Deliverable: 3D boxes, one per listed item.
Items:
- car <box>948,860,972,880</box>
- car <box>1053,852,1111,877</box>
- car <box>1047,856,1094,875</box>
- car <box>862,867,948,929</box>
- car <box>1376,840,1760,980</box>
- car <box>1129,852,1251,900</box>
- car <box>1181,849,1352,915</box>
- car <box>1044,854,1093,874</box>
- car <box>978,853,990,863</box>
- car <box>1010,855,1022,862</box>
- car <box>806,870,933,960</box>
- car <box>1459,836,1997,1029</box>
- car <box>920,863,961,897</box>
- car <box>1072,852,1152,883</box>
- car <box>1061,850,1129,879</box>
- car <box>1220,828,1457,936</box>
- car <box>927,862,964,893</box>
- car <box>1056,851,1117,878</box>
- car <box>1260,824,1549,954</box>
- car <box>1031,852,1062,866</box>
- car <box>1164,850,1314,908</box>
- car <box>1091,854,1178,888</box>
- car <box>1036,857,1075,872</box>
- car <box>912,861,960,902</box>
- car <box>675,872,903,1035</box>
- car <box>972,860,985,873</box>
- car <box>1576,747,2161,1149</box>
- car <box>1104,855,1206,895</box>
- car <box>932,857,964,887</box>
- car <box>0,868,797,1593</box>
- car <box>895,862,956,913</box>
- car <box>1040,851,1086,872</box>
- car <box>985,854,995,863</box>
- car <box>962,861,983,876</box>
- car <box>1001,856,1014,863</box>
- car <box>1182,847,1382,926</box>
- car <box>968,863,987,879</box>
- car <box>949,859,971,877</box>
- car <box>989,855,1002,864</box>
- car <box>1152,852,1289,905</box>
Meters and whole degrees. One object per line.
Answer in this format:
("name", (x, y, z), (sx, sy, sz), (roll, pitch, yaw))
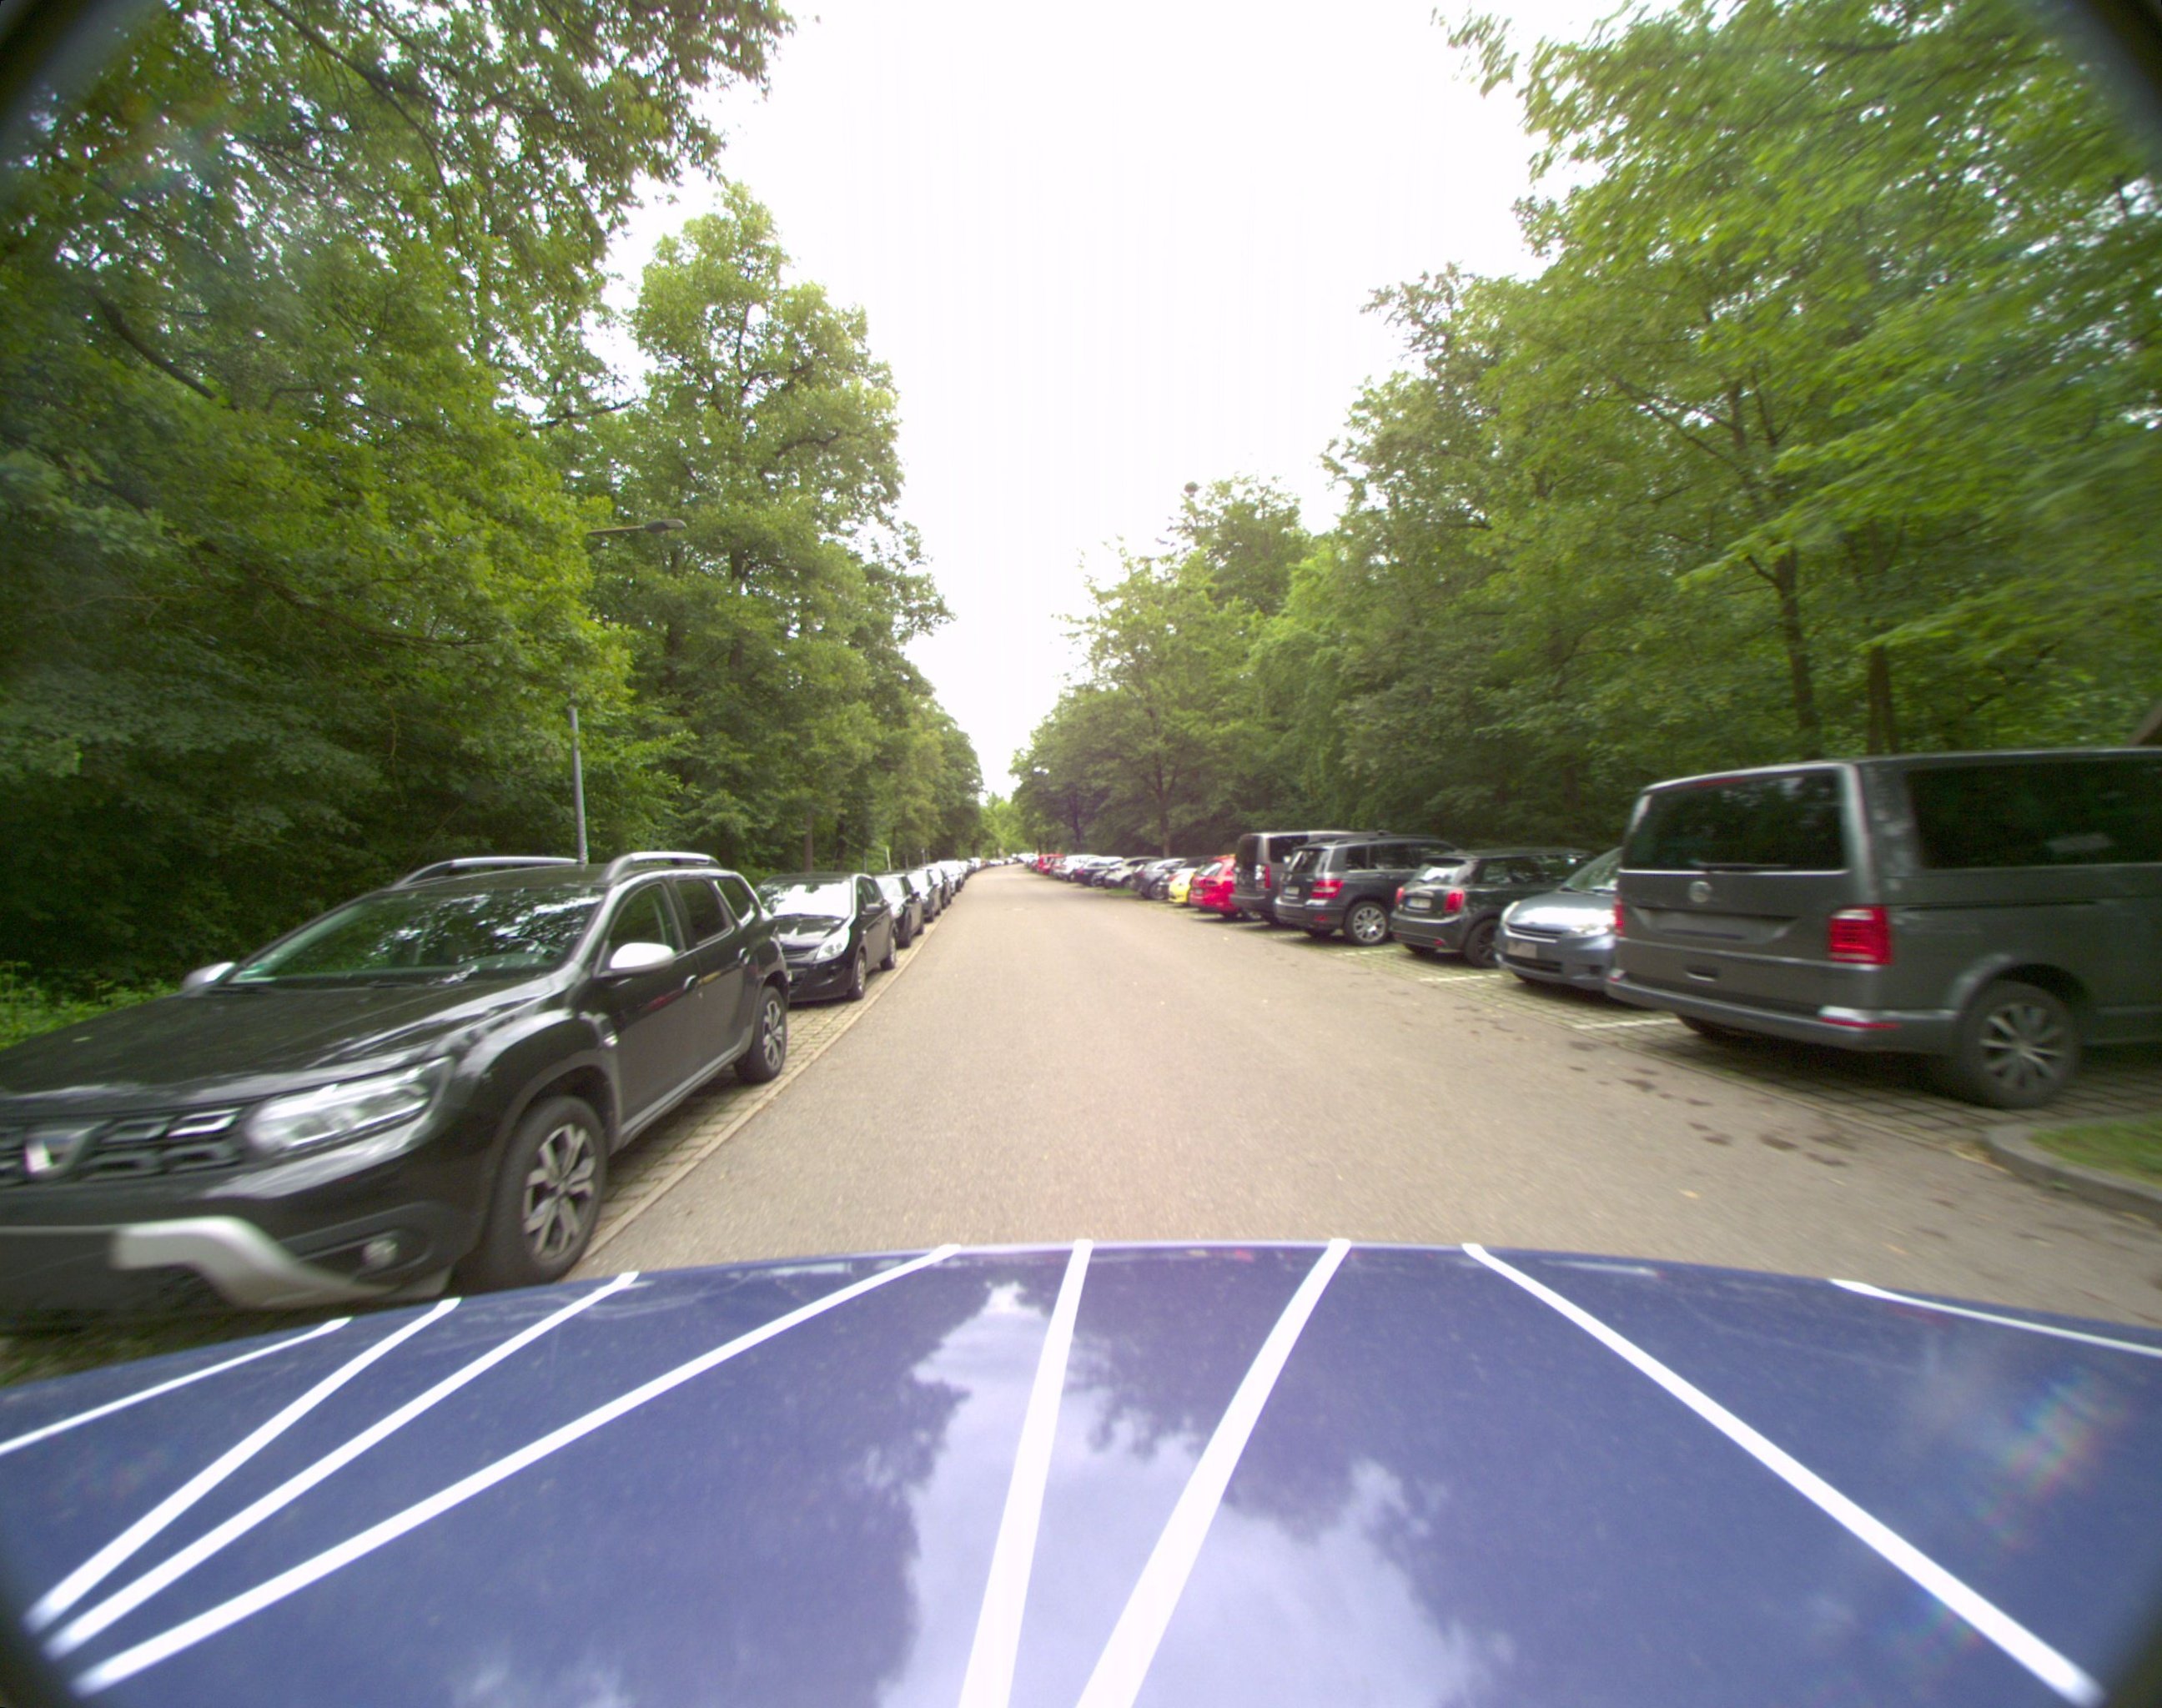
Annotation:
("car", (-9.467, 1.240, 59.632), (1.742, 1.398, 4.424), (-3, 0, -8))
("car", (0.043, 0.739, 54.991), (4.000, 1.652, 1.695), (-1, 0, -8))
("car", (-0.964, 1.014, 67.879), (3.999, 1.507, 1.817), (-2, 0, -7))
("car", (-4.873, 1.161, 21.611), (1.741, 1.423, 4.499), (-3, 0, -6))
("car", (6.234, 0.664, 9.975), (3.999, 1.421, 1.720), (-3, 0, -6))
("car", (3.878, 0.772, 27.488), (3.999, 1.430, 1.714), (-3, 0, -7))
("car", (4.855, 0.701, 20.118), (4.000, 1.430, 1.670), (-3, 0, -9))
("car", (-1.058, 0.814, 64.885), (3.999, 1.507, 1.770), (-2, 0, -7))
("car", (-15.443, 0.629, 120.858), (1.503, 1.470, 3.664), (-4, 0, -4))
("car", (-14.252, 1.033, 166.347), (1.771, 1.308, 3.891), (-3, 1, 8))
("car", (-4.212, 1.139, 15.854), (1.741, 1.423, 4.499), (-3, 0, -6))
("car", (6.088, 0.673, 7.464), (3.825, 1.503, 1.809), (-2, 0, -4))
("car", (-6.715, 1.203, 36.594), (1.742, 1.416, 4.151), (-3, 0, -8))
("car", (1.621, 0.710, 40.256), (3.999, 1.427, 1.676), (-2, 0, -5))
("car", (0.839, 0.666, 47.726), (4.000, 1.652, 1.813), (-2, 0, -8))
("car", (5.011, 0.508, 15.065), (3.999, 1.851, 1.812), (-2, 0, -7))
("car", (-7.270, 1.199, 41.026), (1.742, 1.465, 4.602), (-3, 0, -8))
("car", (0.338, 0.725, 52.538), (3.999, 1.652, 1.813), (-2, 0, -6))
("car", (5.268, 0.527, 12.646), (4.000, 1.755, 1.823), (-3, 0, -8))
("car", (-4.683, 0.620, 102.281), (4.000, 1.717, 1.712), (-2, 0, -10))
("car", (4.622, 0.709, 22.493), (3.999, 1.430, 1.617), (-3, 0, -7))
("car", (2.610, 0.819, 37.280), (3.999, 1.427, 1.676), (-2, 0, -5))
("car", (-2.748, 1.101, 79.909), (3.998, 1.413, 1.741), (-2, 0, -4))
("car", (-6.139, 1.122, 32.480), (1.742, 1.559, 4.005), (-3, 0, -8))
("car", (-3.474, 1.058, 9.907), (1.742, 1.486, 4.231), (-3, 0, -7))
("car", (-13.988, 1.655, 103.869), (1.581, 1.610, 3.960), (-3, 0, -5))
("car", (6.045, 0.423, 4.900), (4.515, 1.966, 1.890), (-2, 0, -4))
("car", (3.107, 0.878, 32.360), (3.999, 1.458, 1.714), (-3, 0, -7))
("car", (-8.178, 1.066, 47.060), (1.742, 1.634, 5.068), (-3, 0, -8))
("car", (-2.960, 0.960, 3.957), (1.742, 1.624, 4.372), (-3, 0, -7))
("car", (-5.501, 1.118, 27.267), (1.742, 1.579, 4.379), (-3, 0, -7))
("car", (-1.645, 0.681, 69.792), (3.999, 1.804, 1.817), (-2, 0, -7))
("car", (-15.821, 0.819, 132.233), (1.503, 1.470, 3.664), (-4, 0, -4))
("car", (-13.171, 1.730, 92.393), (1.910, 1.713, 4.485), (-3, 0, -1))
("car", (-15.226, 1.155, 157.703), (1.771, 1.307, 3.894), (-3, -3, 8))
("car", (4.533, 0.695, 17.428), (4.000, 1.467, 1.778), (-3, 0, -9))
("car", (-11.237, 1.852, 82.142), (1.908, 1.577, 4.478), (-3, 0, -8))
("car", (-10.437, 1.198, 65.648), (1.742, 1.426, 4.742), (-3, 0, -8))
("car", (-15.742, 0.963, 140.072), (1.501, 1.470, 3.667), (-3, 0, 7))
("car", (4.490, 0.786, 24.814), (3.999, 1.430, 1.732), (-3, 0, -7))
